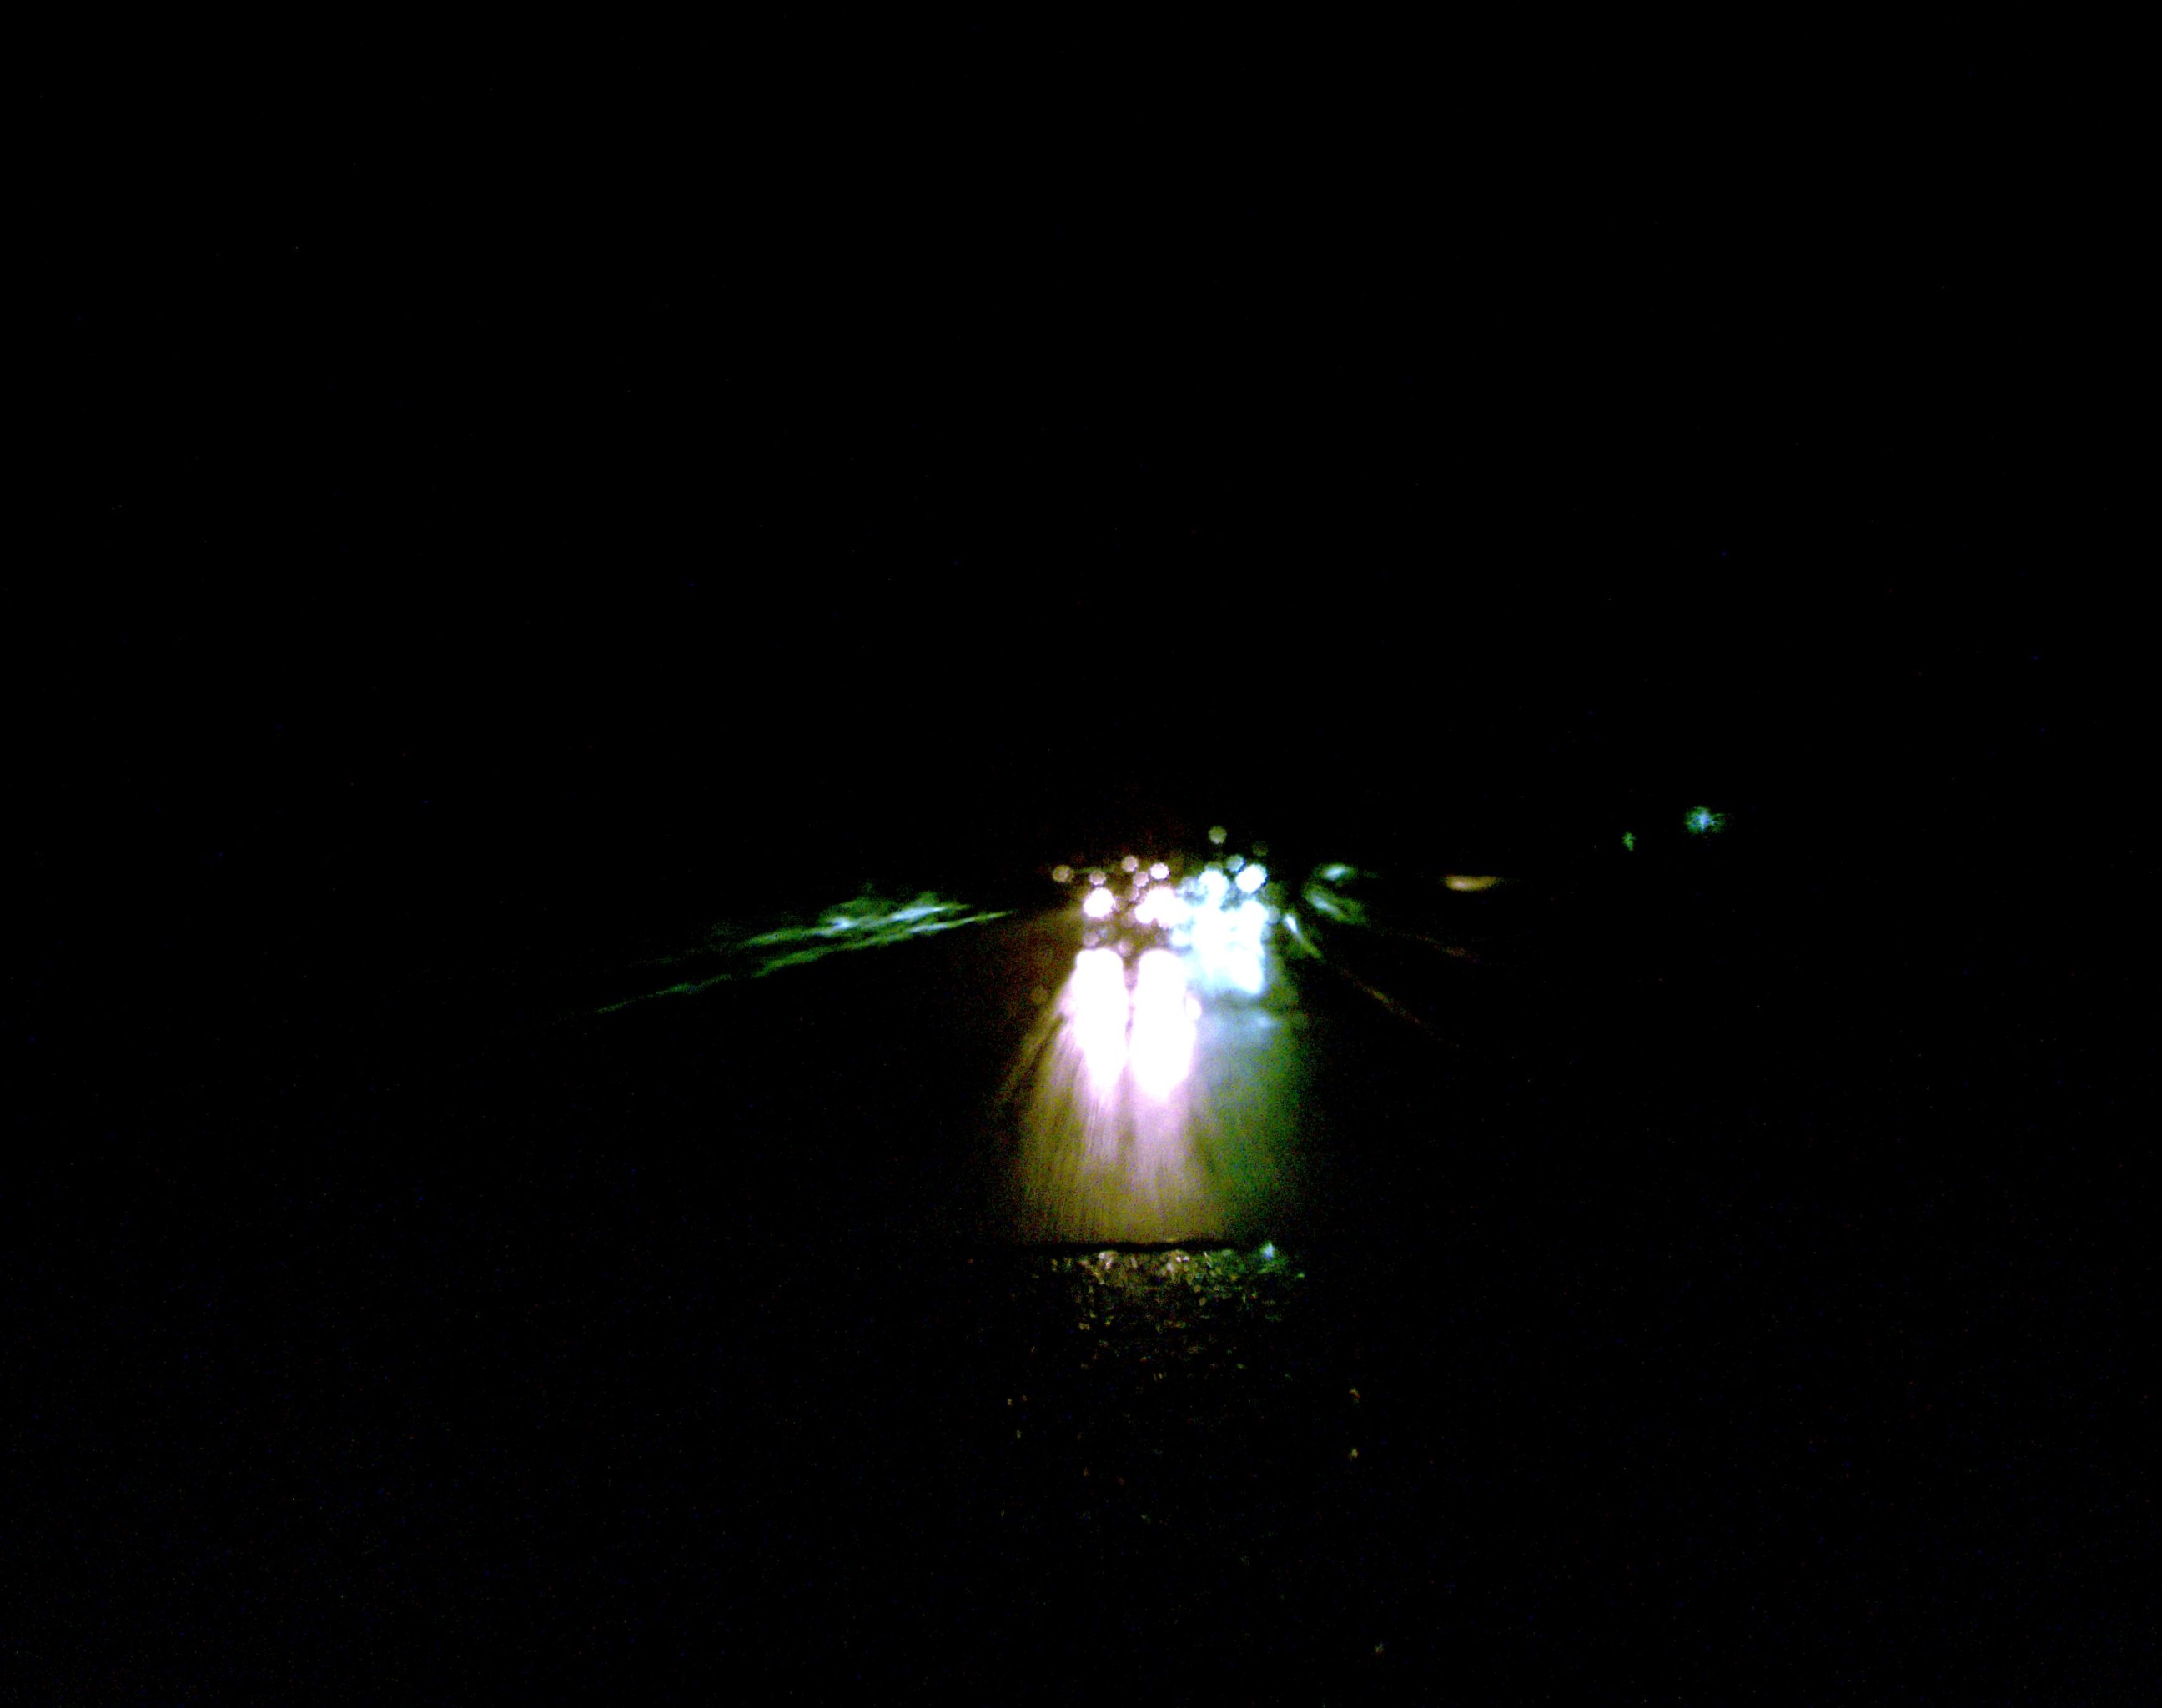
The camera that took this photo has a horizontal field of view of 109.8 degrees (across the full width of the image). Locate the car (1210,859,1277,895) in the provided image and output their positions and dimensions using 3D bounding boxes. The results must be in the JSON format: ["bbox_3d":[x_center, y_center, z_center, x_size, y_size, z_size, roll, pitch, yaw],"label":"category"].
[{"bbox_3d":[6.538,0.895,30.301,1.757,1.304,4.092,-1,0,24],"label":"car"}]

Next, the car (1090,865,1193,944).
[{"bbox_3d":[1.404,0.985,16.393,1.685,1.442,3.646,0,0,13],"label":"car"}]
